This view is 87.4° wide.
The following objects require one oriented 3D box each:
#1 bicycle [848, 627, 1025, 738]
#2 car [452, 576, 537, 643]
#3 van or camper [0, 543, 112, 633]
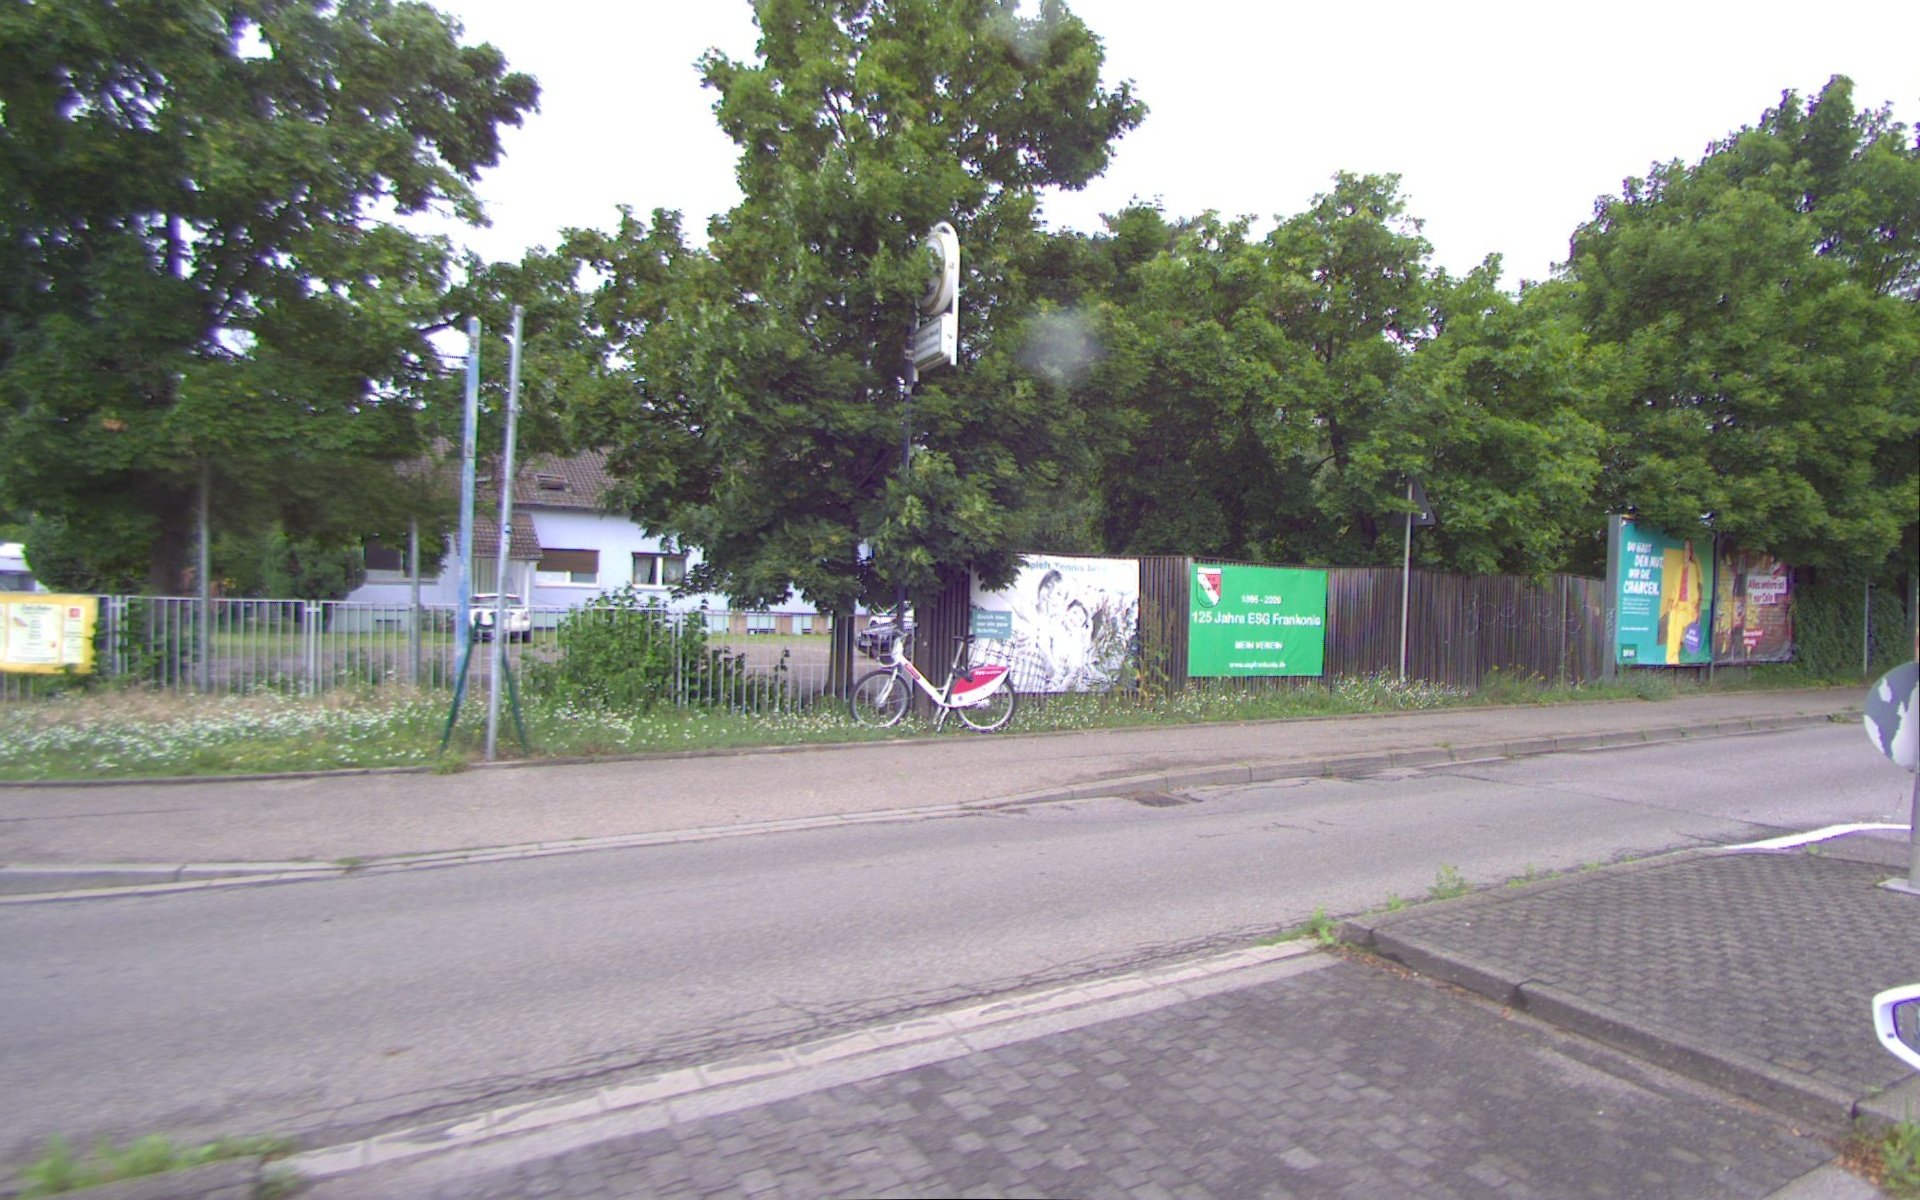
[{"bbox_3d":[-0.257,0.836,10.332,1.737,1.012,0.583,2,2,-6],"label":"bicycle"},{"bbox_3d":[-13.753,0.275,29.551,1.976,1.828,3.969,1,0,-29],"label":"car"},{"bbox_3d":[-29.156,-0.367,31.886,2.492,2.623,5.098,1,0,-30],"label":"van or camper"}]
